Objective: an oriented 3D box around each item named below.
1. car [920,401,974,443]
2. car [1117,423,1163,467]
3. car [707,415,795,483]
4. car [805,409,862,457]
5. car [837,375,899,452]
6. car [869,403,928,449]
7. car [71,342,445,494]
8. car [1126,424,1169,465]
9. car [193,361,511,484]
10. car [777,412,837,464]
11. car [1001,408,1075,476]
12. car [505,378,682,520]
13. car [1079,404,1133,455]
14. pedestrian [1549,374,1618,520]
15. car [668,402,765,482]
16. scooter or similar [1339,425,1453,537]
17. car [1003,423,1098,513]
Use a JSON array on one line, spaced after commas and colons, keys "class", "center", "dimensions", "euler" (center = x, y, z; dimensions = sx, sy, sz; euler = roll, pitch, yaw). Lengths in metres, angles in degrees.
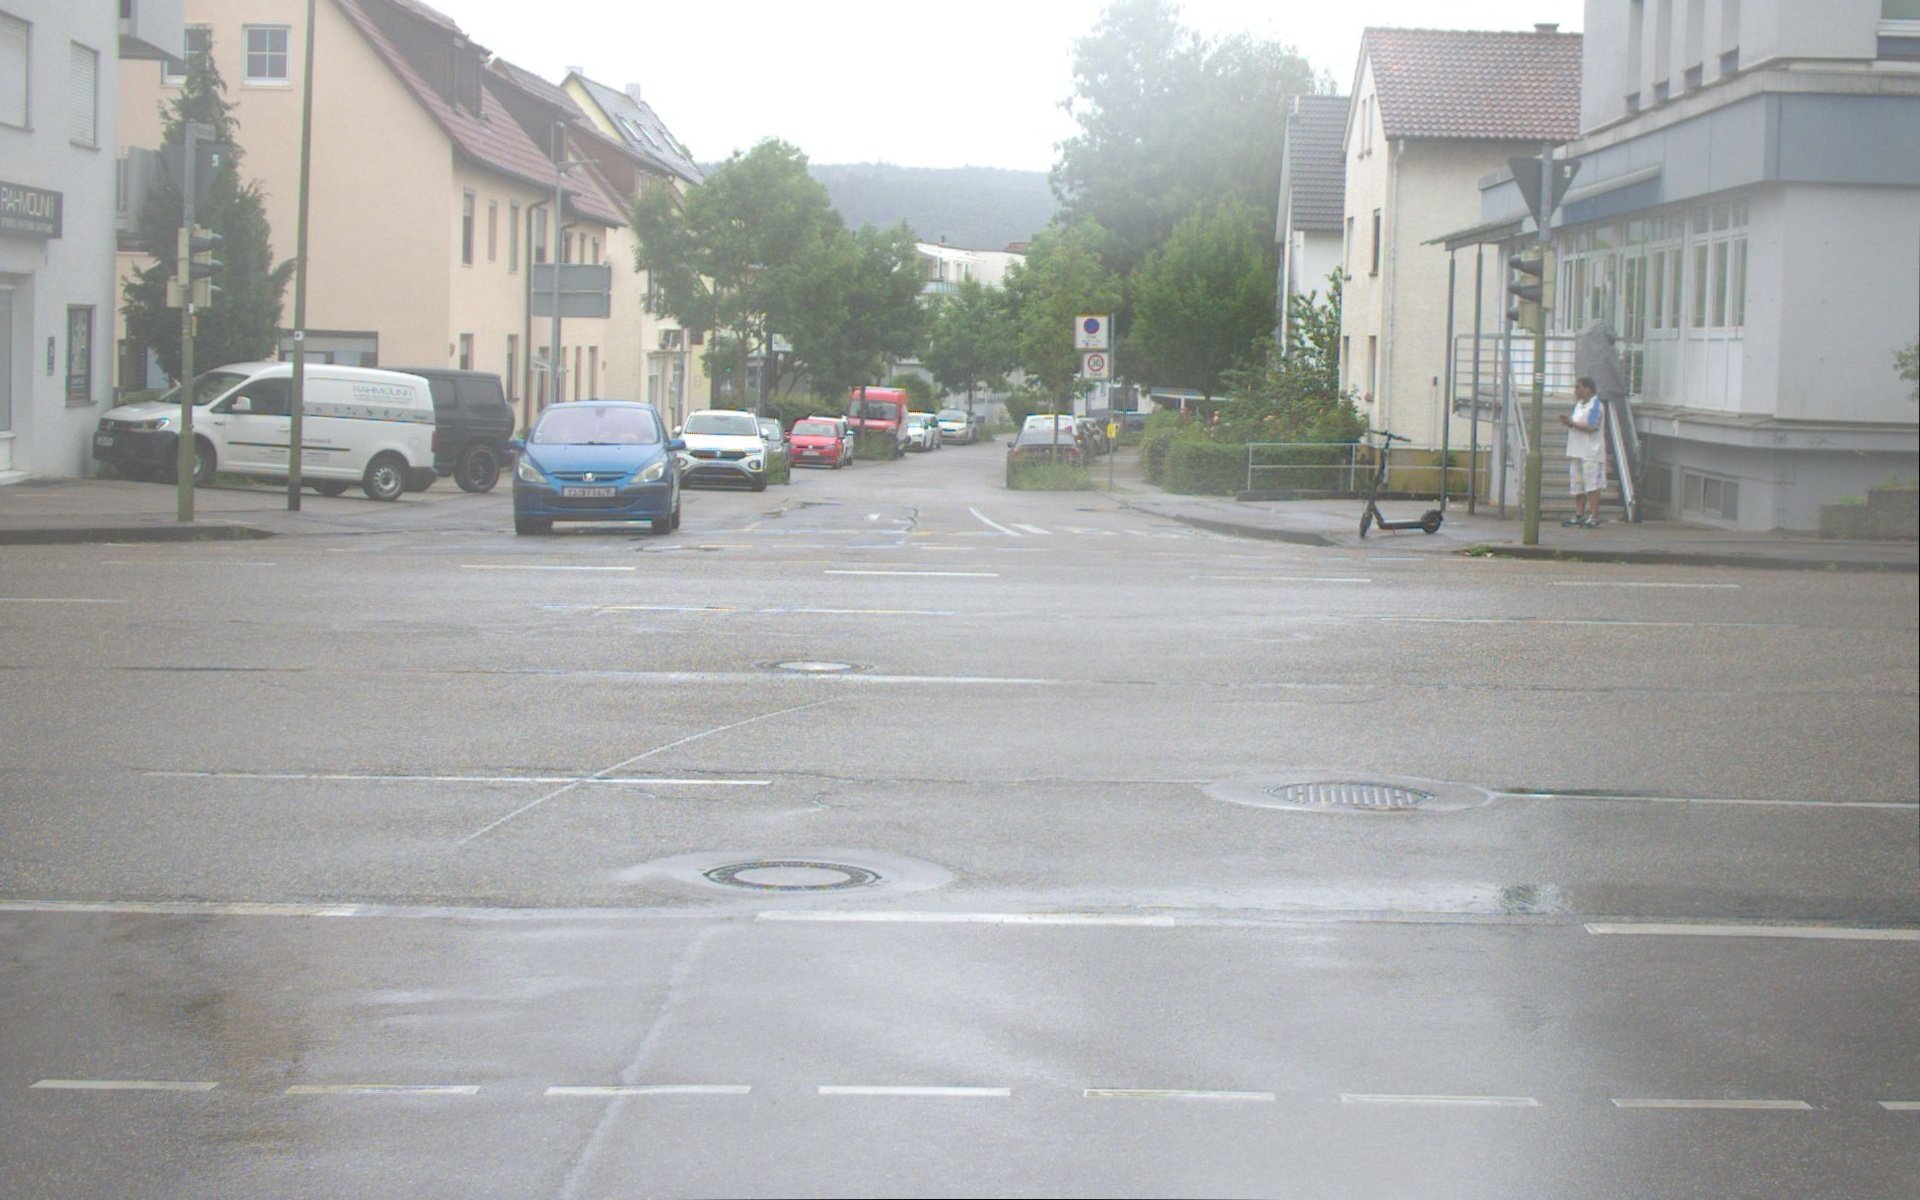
[{"class": "car", "center": [-0.568, -8.012, 154.633], "dimensions": [1.994, 1.700, 3.999], "euler": [1, 1, 6]}, {"class": "car", "center": [8.485, -7.294, 161.873], "dimensions": [1.994, 2.006, 4.000], "euler": [1, 3, 5]}, {"class": "car", "center": [-4.799, -3.490, 79.318], "dimensions": [1.767, 1.513, 4.195], "euler": [0, 3, 0]}, {"class": "car", "center": [-4.163, -5.460, 112.468], "dimensions": [1.767, 1.513, 4.001], "euler": [0, 3, -3]}, {"class": "car", "center": [-3.381, -6.865, 127.218], "dimensions": [2.216, 2.759, 5.726], "euler": [0, 3, -1]}, {"class": "car", "center": [-2.473, -7.015, 138.702], "dimensions": [1.994, 1.678, 3.999], "euler": [1, 1, 5]}, {"class": "car", "center": [-9.671, -2.489, 47.581], "dimensions": [4.715, 1.772, 1.772], "euler": [2, 1, -39]}, {"class": "car", "center": [9.320, -7.710, 170.380], "dimensions": [1.994, 2.006, 4.000], "euler": [1, 3, 5]}, {"class": "car", "center": [-9.630, -2.798, 54.619], "dimensions": [4.608, 1.882, 1.963], "euler": [-2, 3, -39]}, {"class": "car", "center": [-4.659, -4.910, 104.298], "dimensions": [1.767, 1.513, 4.001], "euler": [0, 3, -3]}, {"class": "car", "center": [2.373, -4.754, 103.550], "dimensions": [1.994, 2.006, 4.000], "euler": [1, 3, 5]}, {"class": "car", "center": [-4.085, -1.656, 38.782], "dimensions": [1.767, 1.440, 4.001], "euler": [1, 1, -3]}, {"class": "car", "center": [5.867, -6.830, 137.601], "dimensions": [1.994, 2.006, 4.000], "euler": [1, 3, 5]}, {"class": "pedestrian", "center": [7.189, -1.756, 39.664], "dimensions": [0.654, 1.646, 0.646], "euler": [1, 0, 0]}, {"class": "car", "center": [-4.785, -3.120, 67.844], "dimensions": [1.767, 1.518, 4.001], "euler": [0, 3, -2]}, {"class": "scooter or similar", "center": [4.883, -1.323, 38.546], "dimensions": [1.058, 1.223, 0.802], "euler": [1, 0, -9]}, {"class": "car", "center": [2.170, -3.093, 81.263], "dimensions": [1.994, 2.007, 3.999], "euler": [1, 1, 5]}]
